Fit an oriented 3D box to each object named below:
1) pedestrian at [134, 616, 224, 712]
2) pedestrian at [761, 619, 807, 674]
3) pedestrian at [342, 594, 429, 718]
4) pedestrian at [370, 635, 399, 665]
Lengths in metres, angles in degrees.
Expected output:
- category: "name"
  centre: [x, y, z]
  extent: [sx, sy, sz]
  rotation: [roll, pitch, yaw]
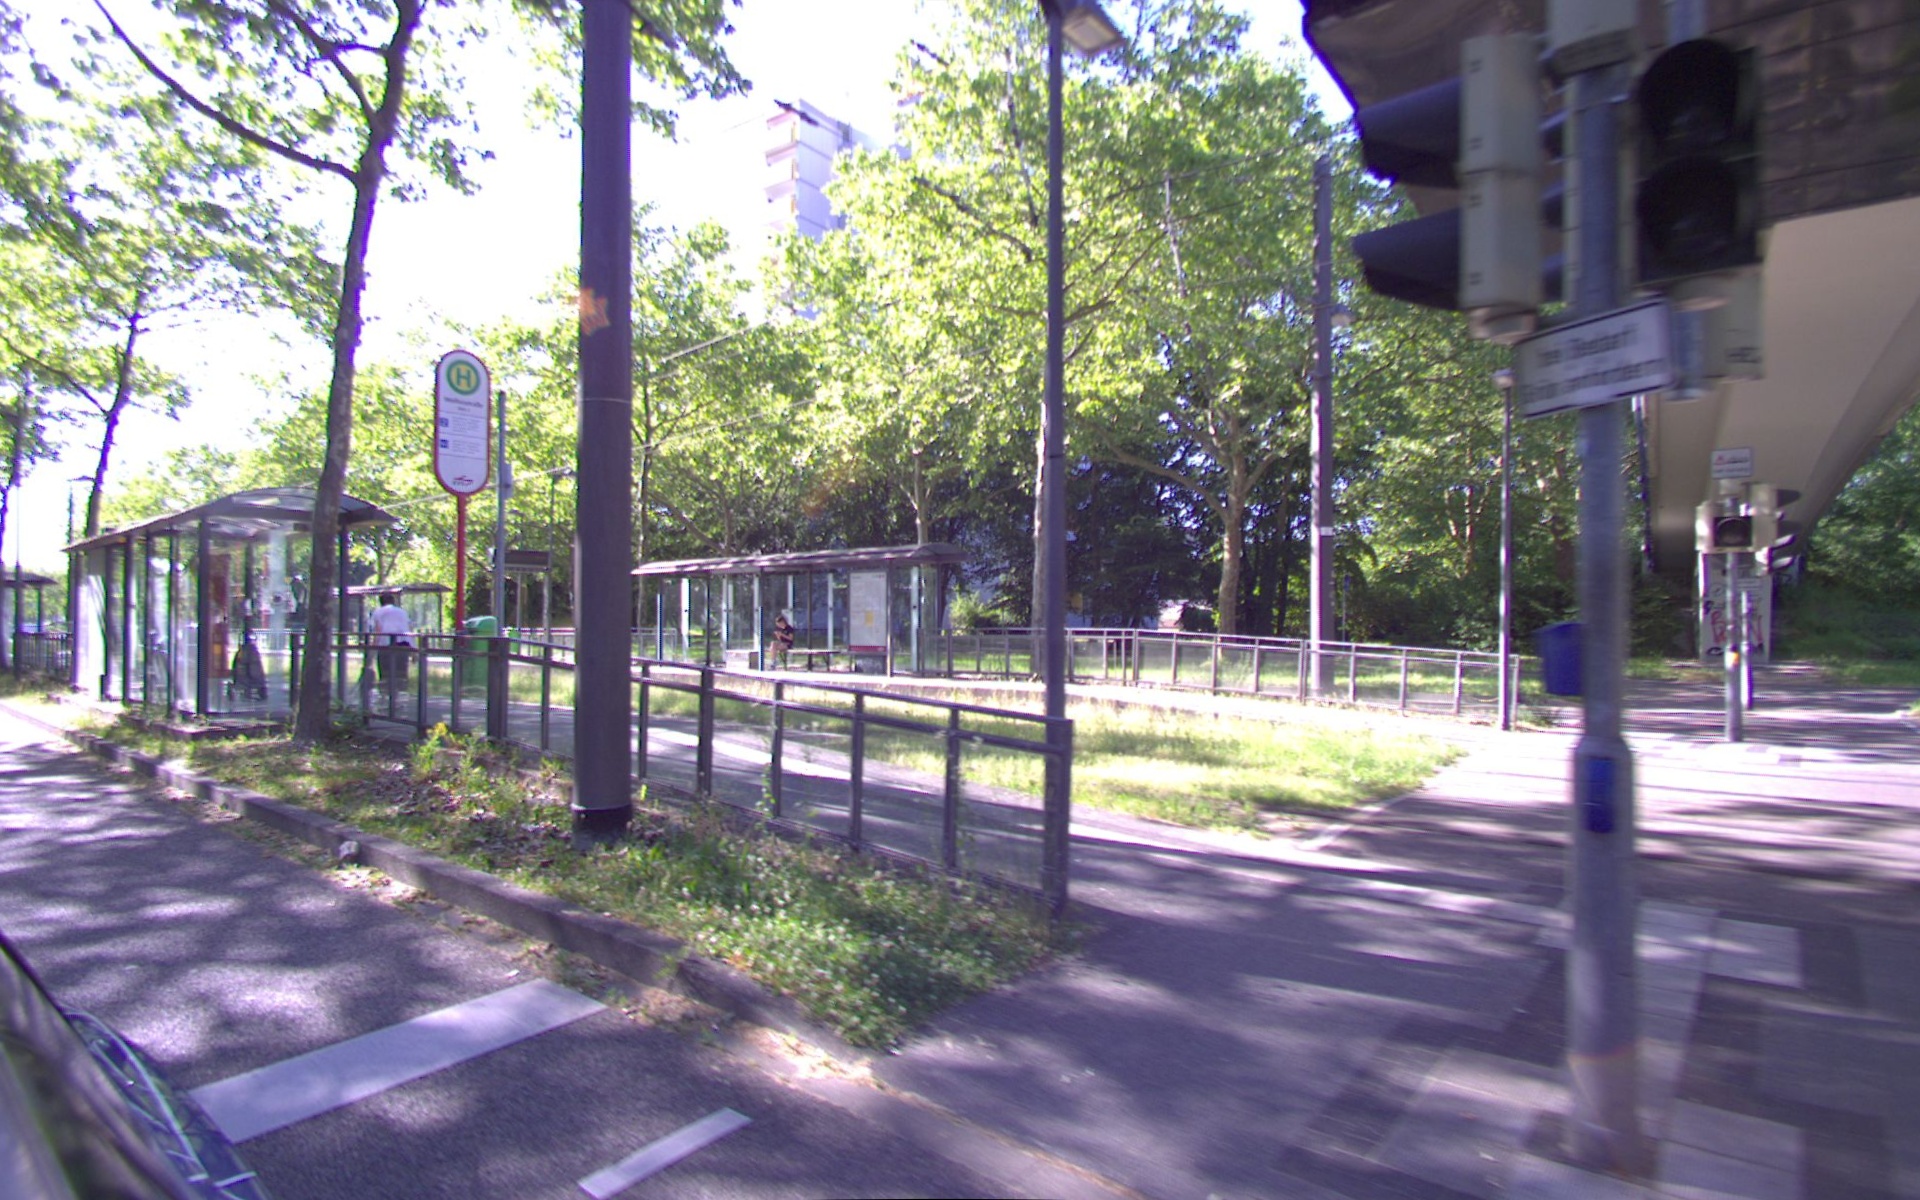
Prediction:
- category: "pedestrian"
  centre: [-10.727, 0.854, 13.898]
  extent: [0.850, 1.252, 0.845]
  rotation: [-2, -1, 43]
- category: "pedestrian"
  centre: [-4.037, 1.055, 23.220]
  extent: [0.721, 1.247, 0.770]
  rotation: [-2, -2, 40]
- category: "pedestrian"
  centre: [-6.889, 0.652, 12.131]
  extent: [0.681, 1.428, 0.717]
  rotation: [-2, -1, 40]
- category: "pedestrian"
  centre: [-22.769, 1.981, 40.027]
  extent: [0.763, 1.192, 0.758]
  rotation: [-2, -4, 41]
